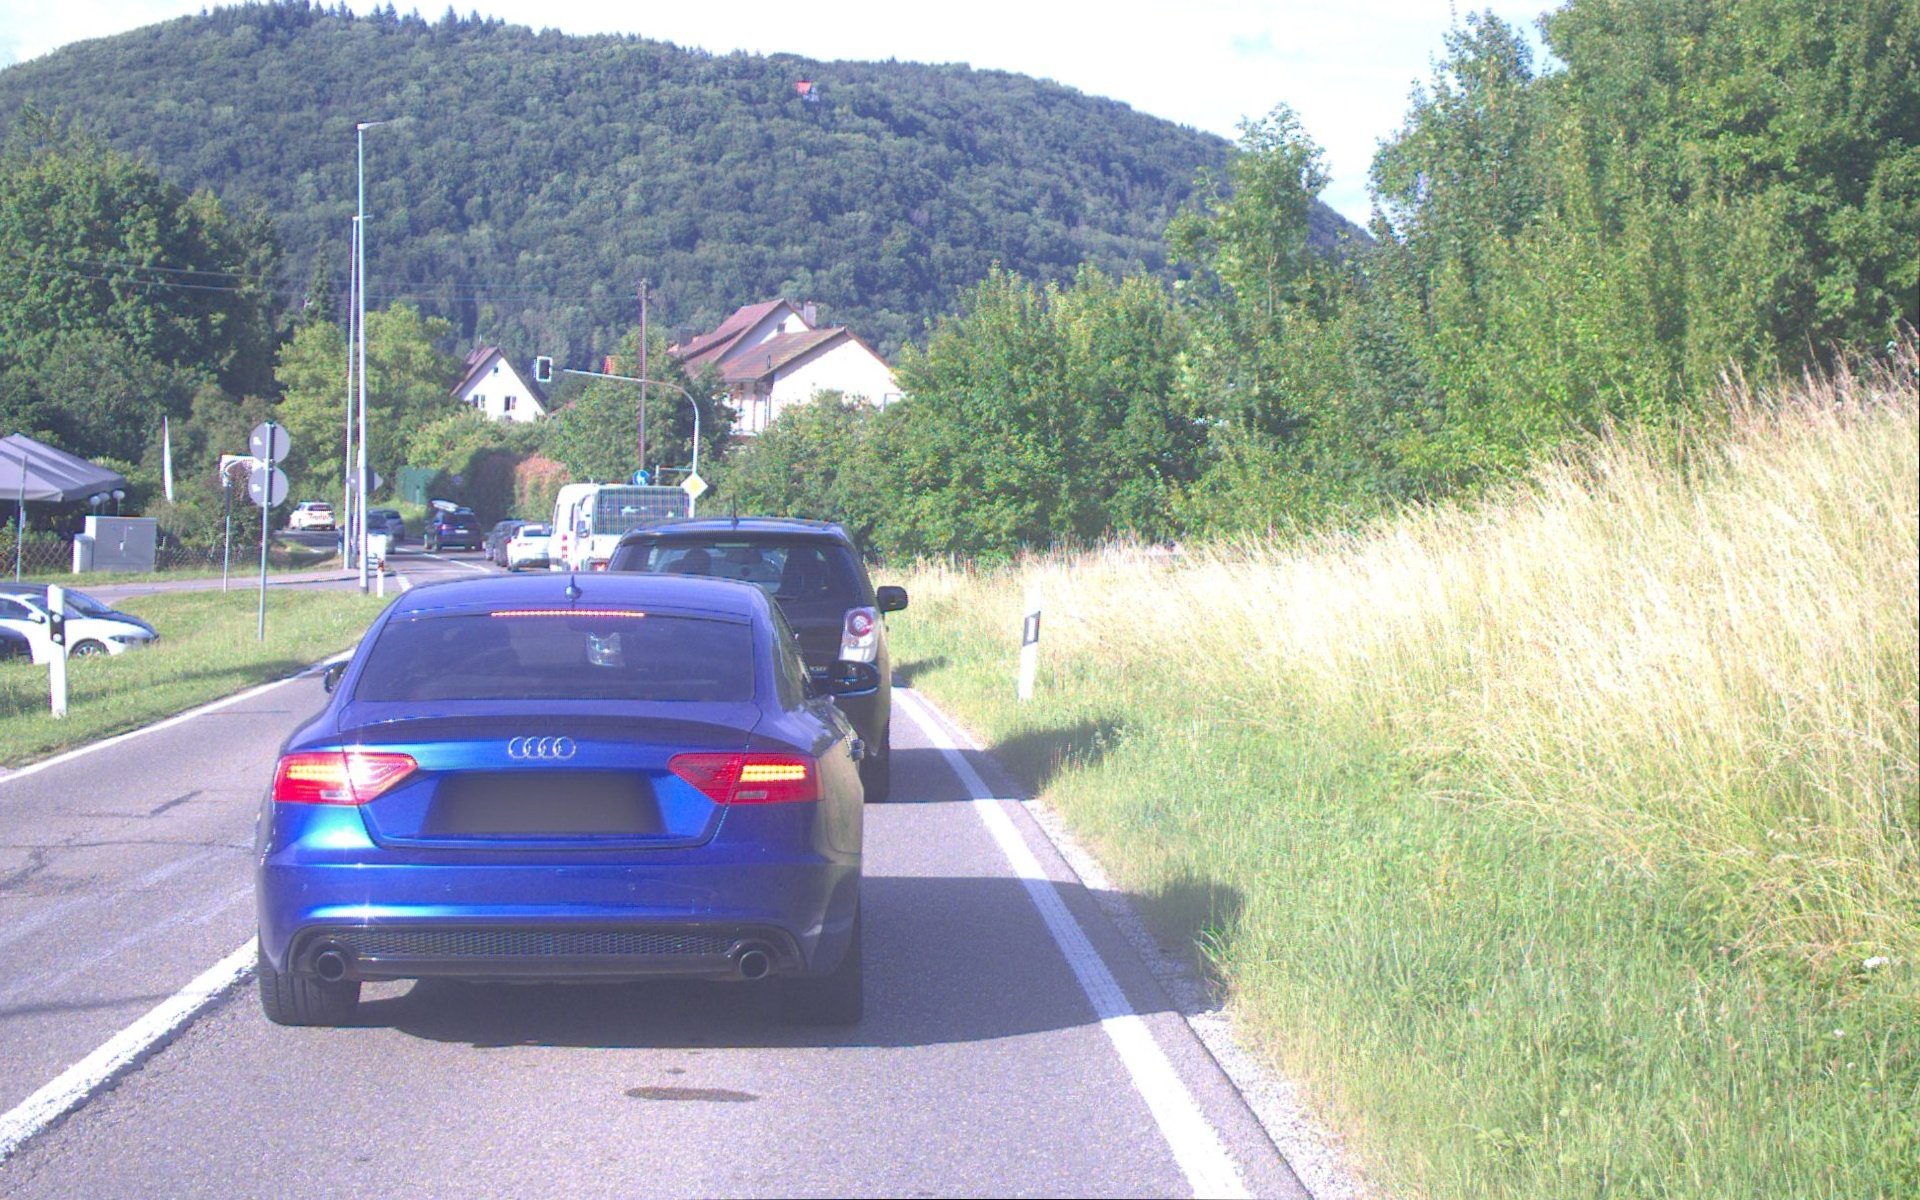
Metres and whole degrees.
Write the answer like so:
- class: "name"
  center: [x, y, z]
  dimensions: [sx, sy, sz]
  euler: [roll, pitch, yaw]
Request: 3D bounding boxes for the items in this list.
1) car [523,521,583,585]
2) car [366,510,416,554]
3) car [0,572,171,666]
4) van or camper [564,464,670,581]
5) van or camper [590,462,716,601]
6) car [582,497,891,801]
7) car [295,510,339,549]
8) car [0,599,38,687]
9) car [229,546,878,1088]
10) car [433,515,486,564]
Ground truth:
- class: "car"
  center: [-12.475, -1.431, 105.249]
  dimensions: [1.659, 1.918, 4.001]
  euler: [-1, 1, -9]
- class: "car"
  center: [-25.894, -3.088, 156.243]
  dimensions: [1.676, 1.918, 4.001]
  euler: [-1, 1, -18]
- class: "car"
  center: [-16.578, 0.343, 62.437]
  dimensions: [4.037, 1.655, 1.655]
  euler: [0, 1, 9]
- class: "van or camper"
  center: [-8.263, -1.824, 82.411]
  dimensions: [2.280, 2.704, 5.769]
  euler: [-1, 1, -8]
- class: "van or camper"
  center: [-5.850, -1.265, 64.900]
  dimensions: [2.051, 2.497, 5.813]
  euler: [-1, 1, -8]
- class: "car"
  center: [-1.315, 0.243, 20.562]
  dimensions: [1.645, 1.619, 3.517]
  euler: [2, 1, -3]
- class: "car"
  center: [-32.553, -3.581, 173.936]
  dimensions: [1.676, 1.918, 4.001]
  euler: [-1, 1, -18]
- class: "car"
  center: [-17.623, 0.730, 57.926]
  dimensions: [3.713, 1.434, 1.509]
  euler: [0, 1, 9]
- class: "car"
  center: [-1.169, 0.572, 11.220]
  dimensions: [1.742, 1.445, 3.517]
  euler: [2, 1, -2]
- class: "car"
  center: [-20.165, -2.422, 138.413]
  dimensions: [1.676, 1.918, 4.001]
  euler: [-1, 1, -15]
